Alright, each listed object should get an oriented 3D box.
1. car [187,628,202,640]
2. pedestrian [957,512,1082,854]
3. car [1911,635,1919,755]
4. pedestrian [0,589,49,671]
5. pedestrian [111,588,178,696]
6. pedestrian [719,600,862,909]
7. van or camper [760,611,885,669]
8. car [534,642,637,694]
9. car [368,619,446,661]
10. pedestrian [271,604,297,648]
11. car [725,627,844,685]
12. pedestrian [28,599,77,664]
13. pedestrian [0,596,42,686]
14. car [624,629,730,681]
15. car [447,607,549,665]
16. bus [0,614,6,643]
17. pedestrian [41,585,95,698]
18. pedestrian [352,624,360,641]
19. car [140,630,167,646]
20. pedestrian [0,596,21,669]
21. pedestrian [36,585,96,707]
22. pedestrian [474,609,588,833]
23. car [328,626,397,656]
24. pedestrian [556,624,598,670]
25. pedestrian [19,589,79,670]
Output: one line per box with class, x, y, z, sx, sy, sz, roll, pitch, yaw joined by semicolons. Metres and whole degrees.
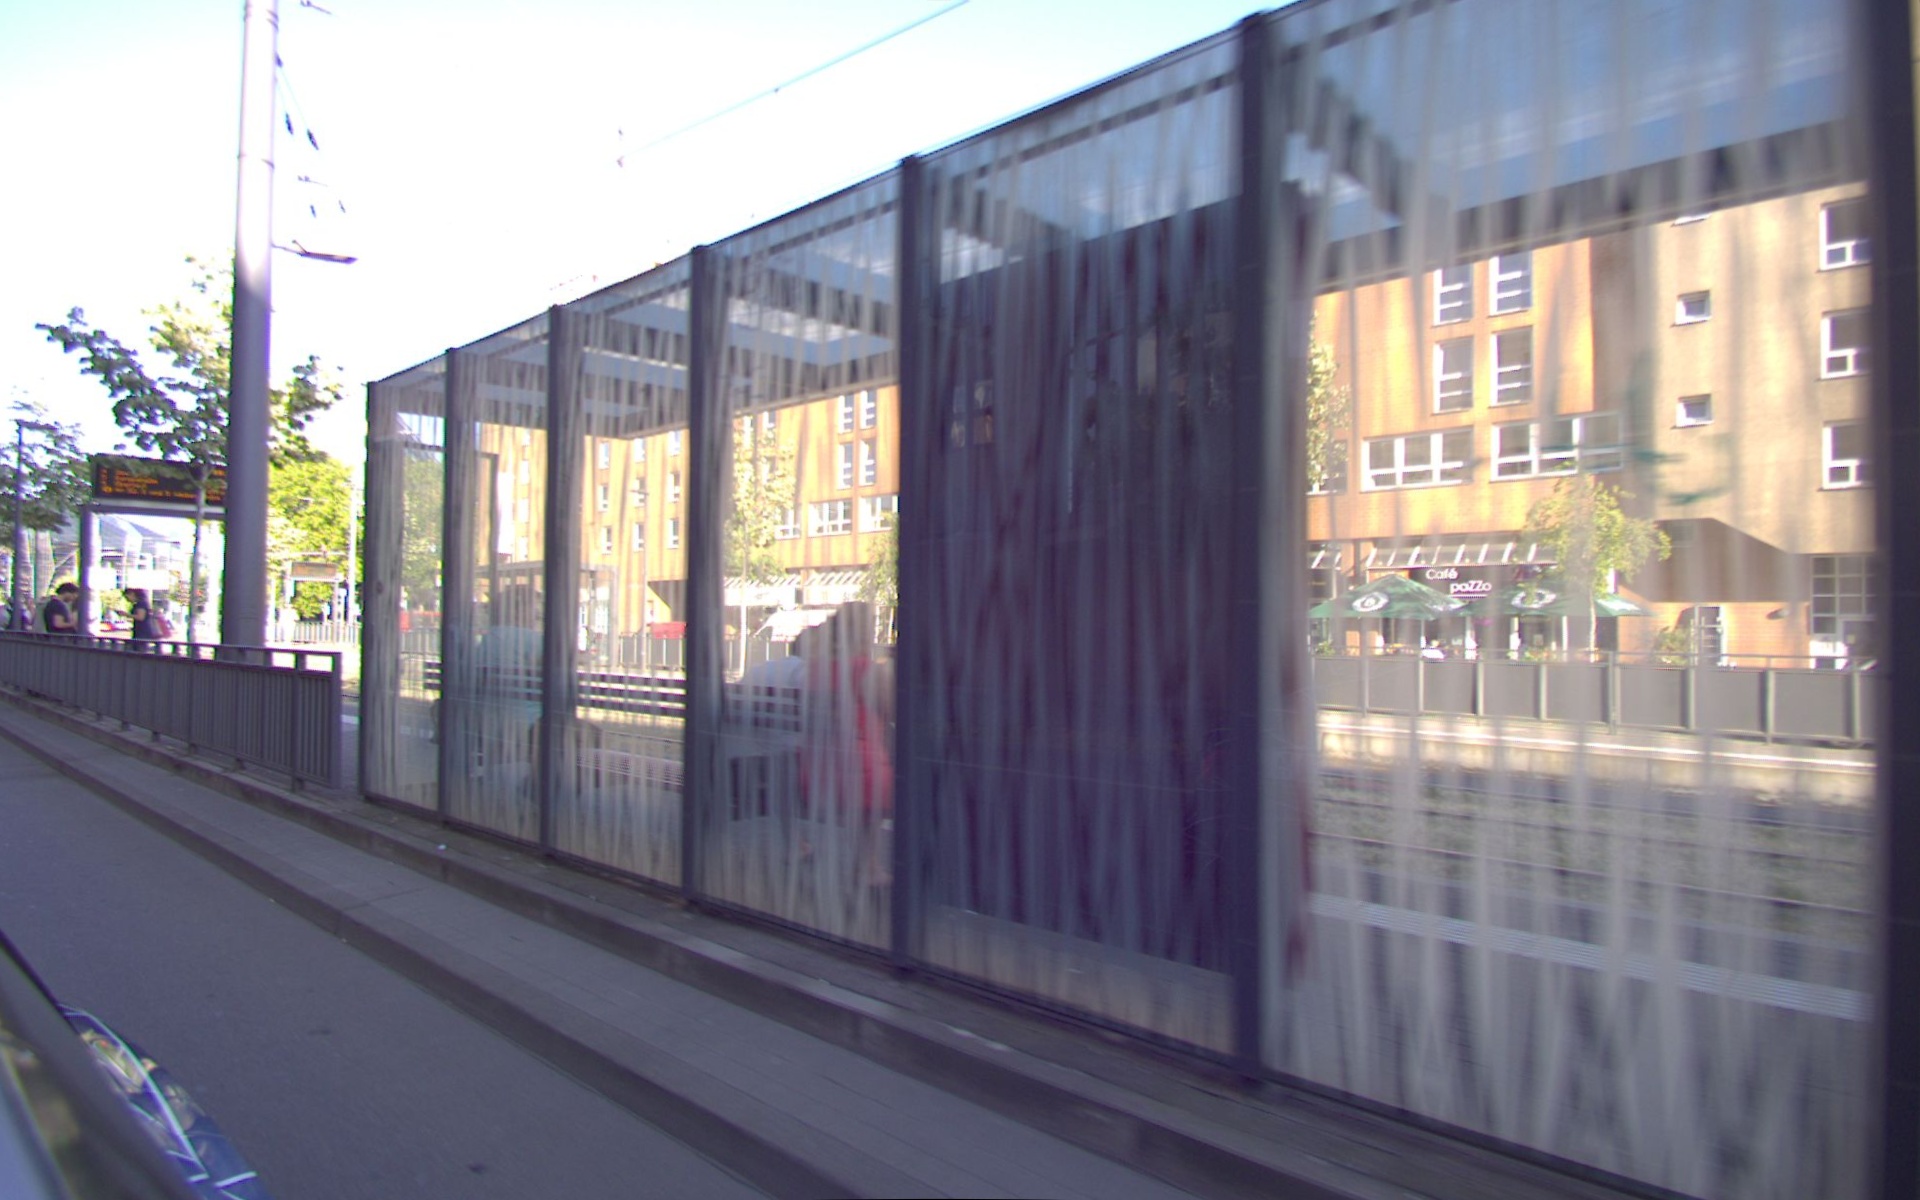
car;-130.405;5.843;172.392;1.584;2.029;3.898;2;-2;-31
pedestrian;0.265;0.342;4.427;0.406;1.396;0.425;-1;-2;29
car;18.369;1.570;16.401;1.970;2.029;4.151;3;-4;-43
pedestrian;-20.054;0.624;21.292;0.875;1.685;1.099;1;-2;-15
pedestrian;-13.601;0.694;16.882;0.651;1.745;0.712;-1;-3;40
pedestrian;-0.701;0.606;4.220;0.428;1.199;0.403;-1;-2;28
van or camper;-5.707;1.684;41.437;5.614;2.186;1.972;-4;-4;42
car;-14.380;2.555;38.762;4.313;1.881;1.866;-2;-4;41
car;-31.614;2.261;57.830;5.259;2.306;2.058;-1;-3;39
pedestrian;-26.640;1.036;39.878;0.668;1.696;0.577;1;-2;-16
car;-6.097;1.911;34.933;4.316;1.881;1.865;-3;-4;43
pedestrian;-21.312;0.744;23.782;0.673;1.494;0.831;1;-2;-32
pedestrian;-17.113;0.732;18.258;0.905;1.574;0.666;-1;-3;40
car;-11.032;2.123;39.305;4.312;1.881;1.867;-2;-4;40
car;-19.795;1.525;43.261;4.916;2.376;2.025;-1;-3;40
bus;-119.309;3.576;124.442;2.685;3.434;9.677;3;-4;-43
pedestrian;-14.119;0.653;16.018;0.651;1.745;0.499;-1;-3;40
pedestrian;-63.748;3.412;106.838;0.661;1.810;0.571;2;-2;-23
car;-123.665;5.877;155.263;1.965;2.499;5.993;1;-3;-27
pedestrian;-22.434;0.743;23.478;0.877;1.685;0.673;2;-3;-41
pedestrian;-12.754;0.645;14.436;0.651;1.691;0.499;-1;-3;40
pedestrian;-2.414;0.654;5.706;0.428;1.199;0.403;-1;-2;28
car;-31.699;2.186;53.689;3.995;1.544;1.867;-2;-4;39
pedestrian;-10.136;1.227;26.798;0.905;1.199;0.666;-1;-3;40
pedestrian;-19.308;0.636;21.467;0.648;1.685;0.673;1;-2;-13
